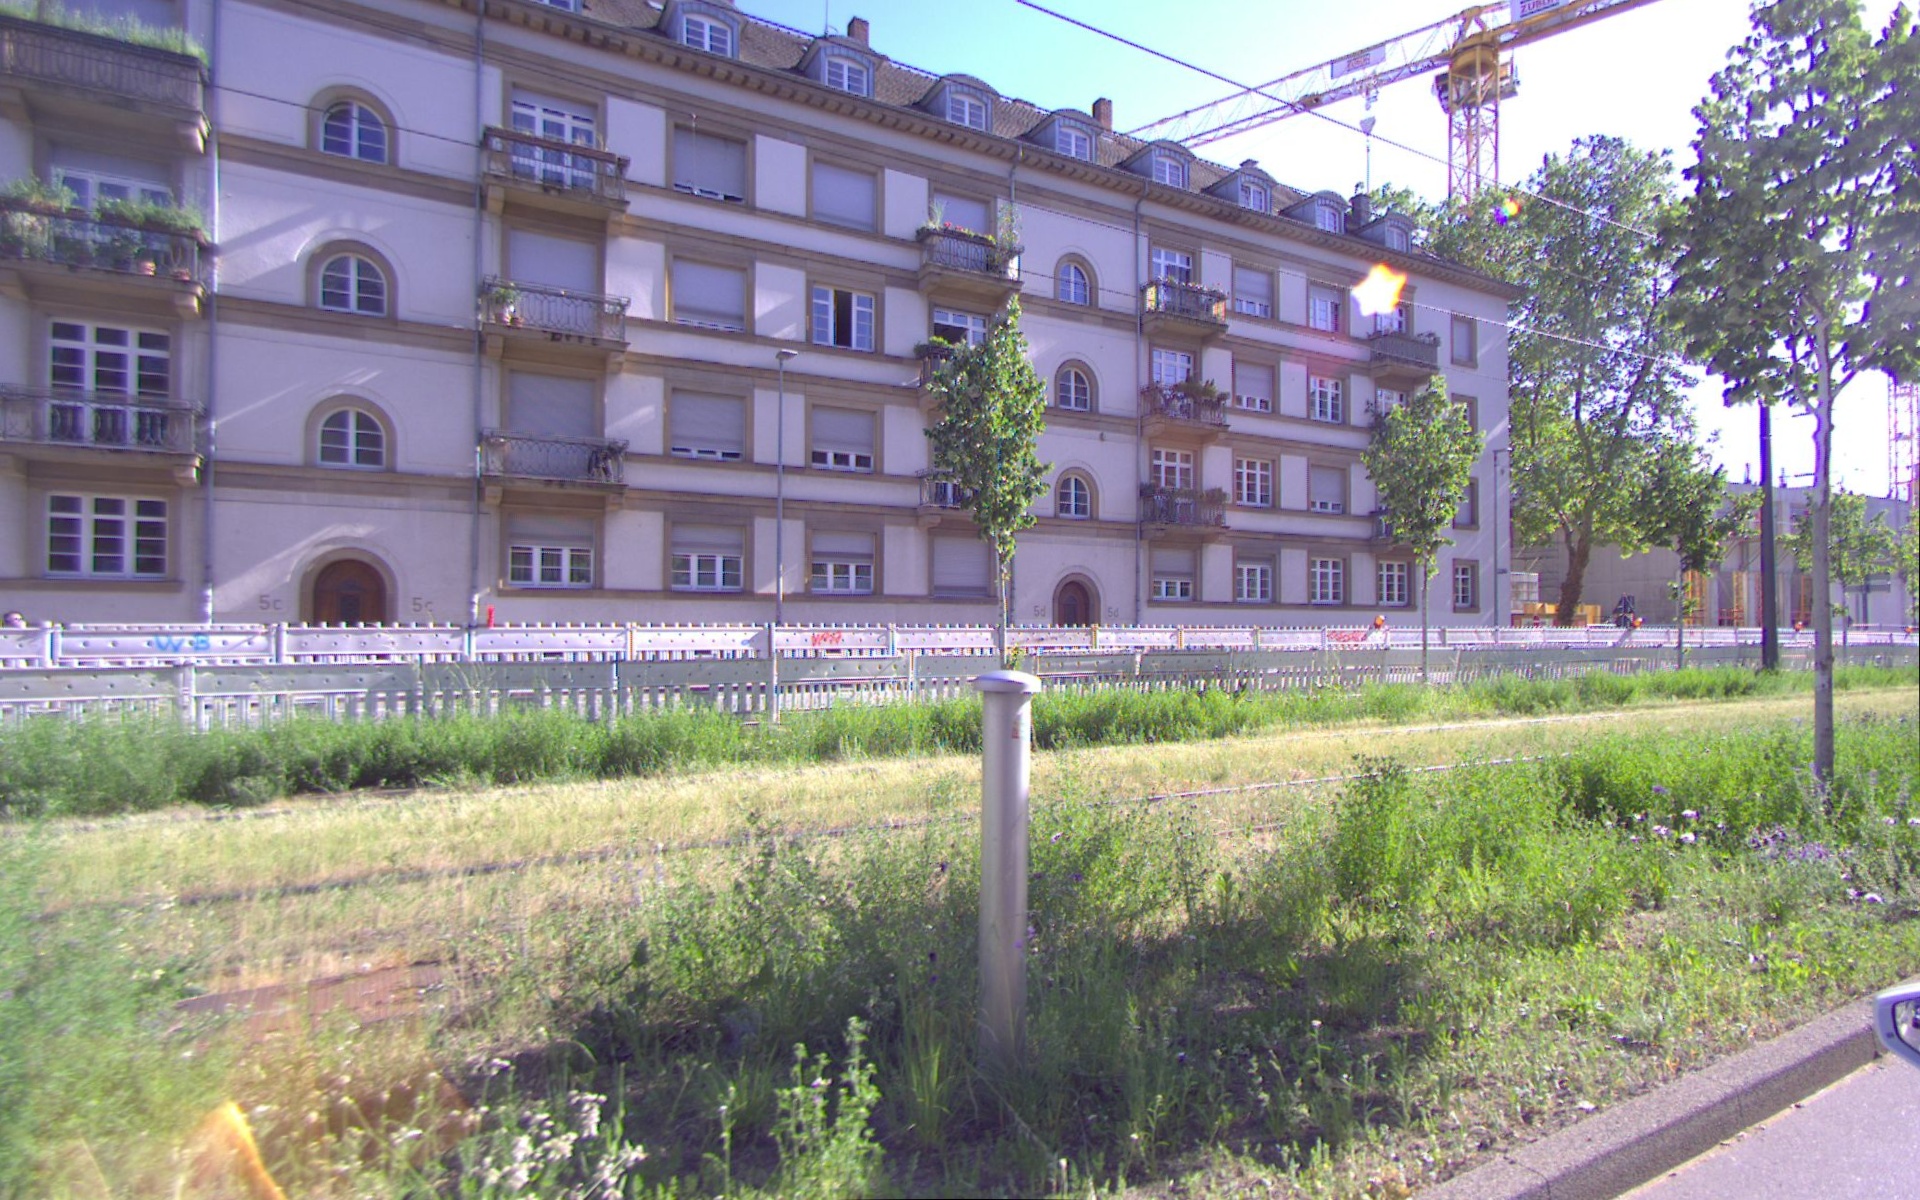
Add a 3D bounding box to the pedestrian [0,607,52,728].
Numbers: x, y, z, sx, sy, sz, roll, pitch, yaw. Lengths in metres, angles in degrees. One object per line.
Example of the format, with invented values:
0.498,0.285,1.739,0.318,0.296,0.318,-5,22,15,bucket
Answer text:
-15.152,1.052,15.973,0.861,1.887,0.763,2,-1,-30,pedestrian
